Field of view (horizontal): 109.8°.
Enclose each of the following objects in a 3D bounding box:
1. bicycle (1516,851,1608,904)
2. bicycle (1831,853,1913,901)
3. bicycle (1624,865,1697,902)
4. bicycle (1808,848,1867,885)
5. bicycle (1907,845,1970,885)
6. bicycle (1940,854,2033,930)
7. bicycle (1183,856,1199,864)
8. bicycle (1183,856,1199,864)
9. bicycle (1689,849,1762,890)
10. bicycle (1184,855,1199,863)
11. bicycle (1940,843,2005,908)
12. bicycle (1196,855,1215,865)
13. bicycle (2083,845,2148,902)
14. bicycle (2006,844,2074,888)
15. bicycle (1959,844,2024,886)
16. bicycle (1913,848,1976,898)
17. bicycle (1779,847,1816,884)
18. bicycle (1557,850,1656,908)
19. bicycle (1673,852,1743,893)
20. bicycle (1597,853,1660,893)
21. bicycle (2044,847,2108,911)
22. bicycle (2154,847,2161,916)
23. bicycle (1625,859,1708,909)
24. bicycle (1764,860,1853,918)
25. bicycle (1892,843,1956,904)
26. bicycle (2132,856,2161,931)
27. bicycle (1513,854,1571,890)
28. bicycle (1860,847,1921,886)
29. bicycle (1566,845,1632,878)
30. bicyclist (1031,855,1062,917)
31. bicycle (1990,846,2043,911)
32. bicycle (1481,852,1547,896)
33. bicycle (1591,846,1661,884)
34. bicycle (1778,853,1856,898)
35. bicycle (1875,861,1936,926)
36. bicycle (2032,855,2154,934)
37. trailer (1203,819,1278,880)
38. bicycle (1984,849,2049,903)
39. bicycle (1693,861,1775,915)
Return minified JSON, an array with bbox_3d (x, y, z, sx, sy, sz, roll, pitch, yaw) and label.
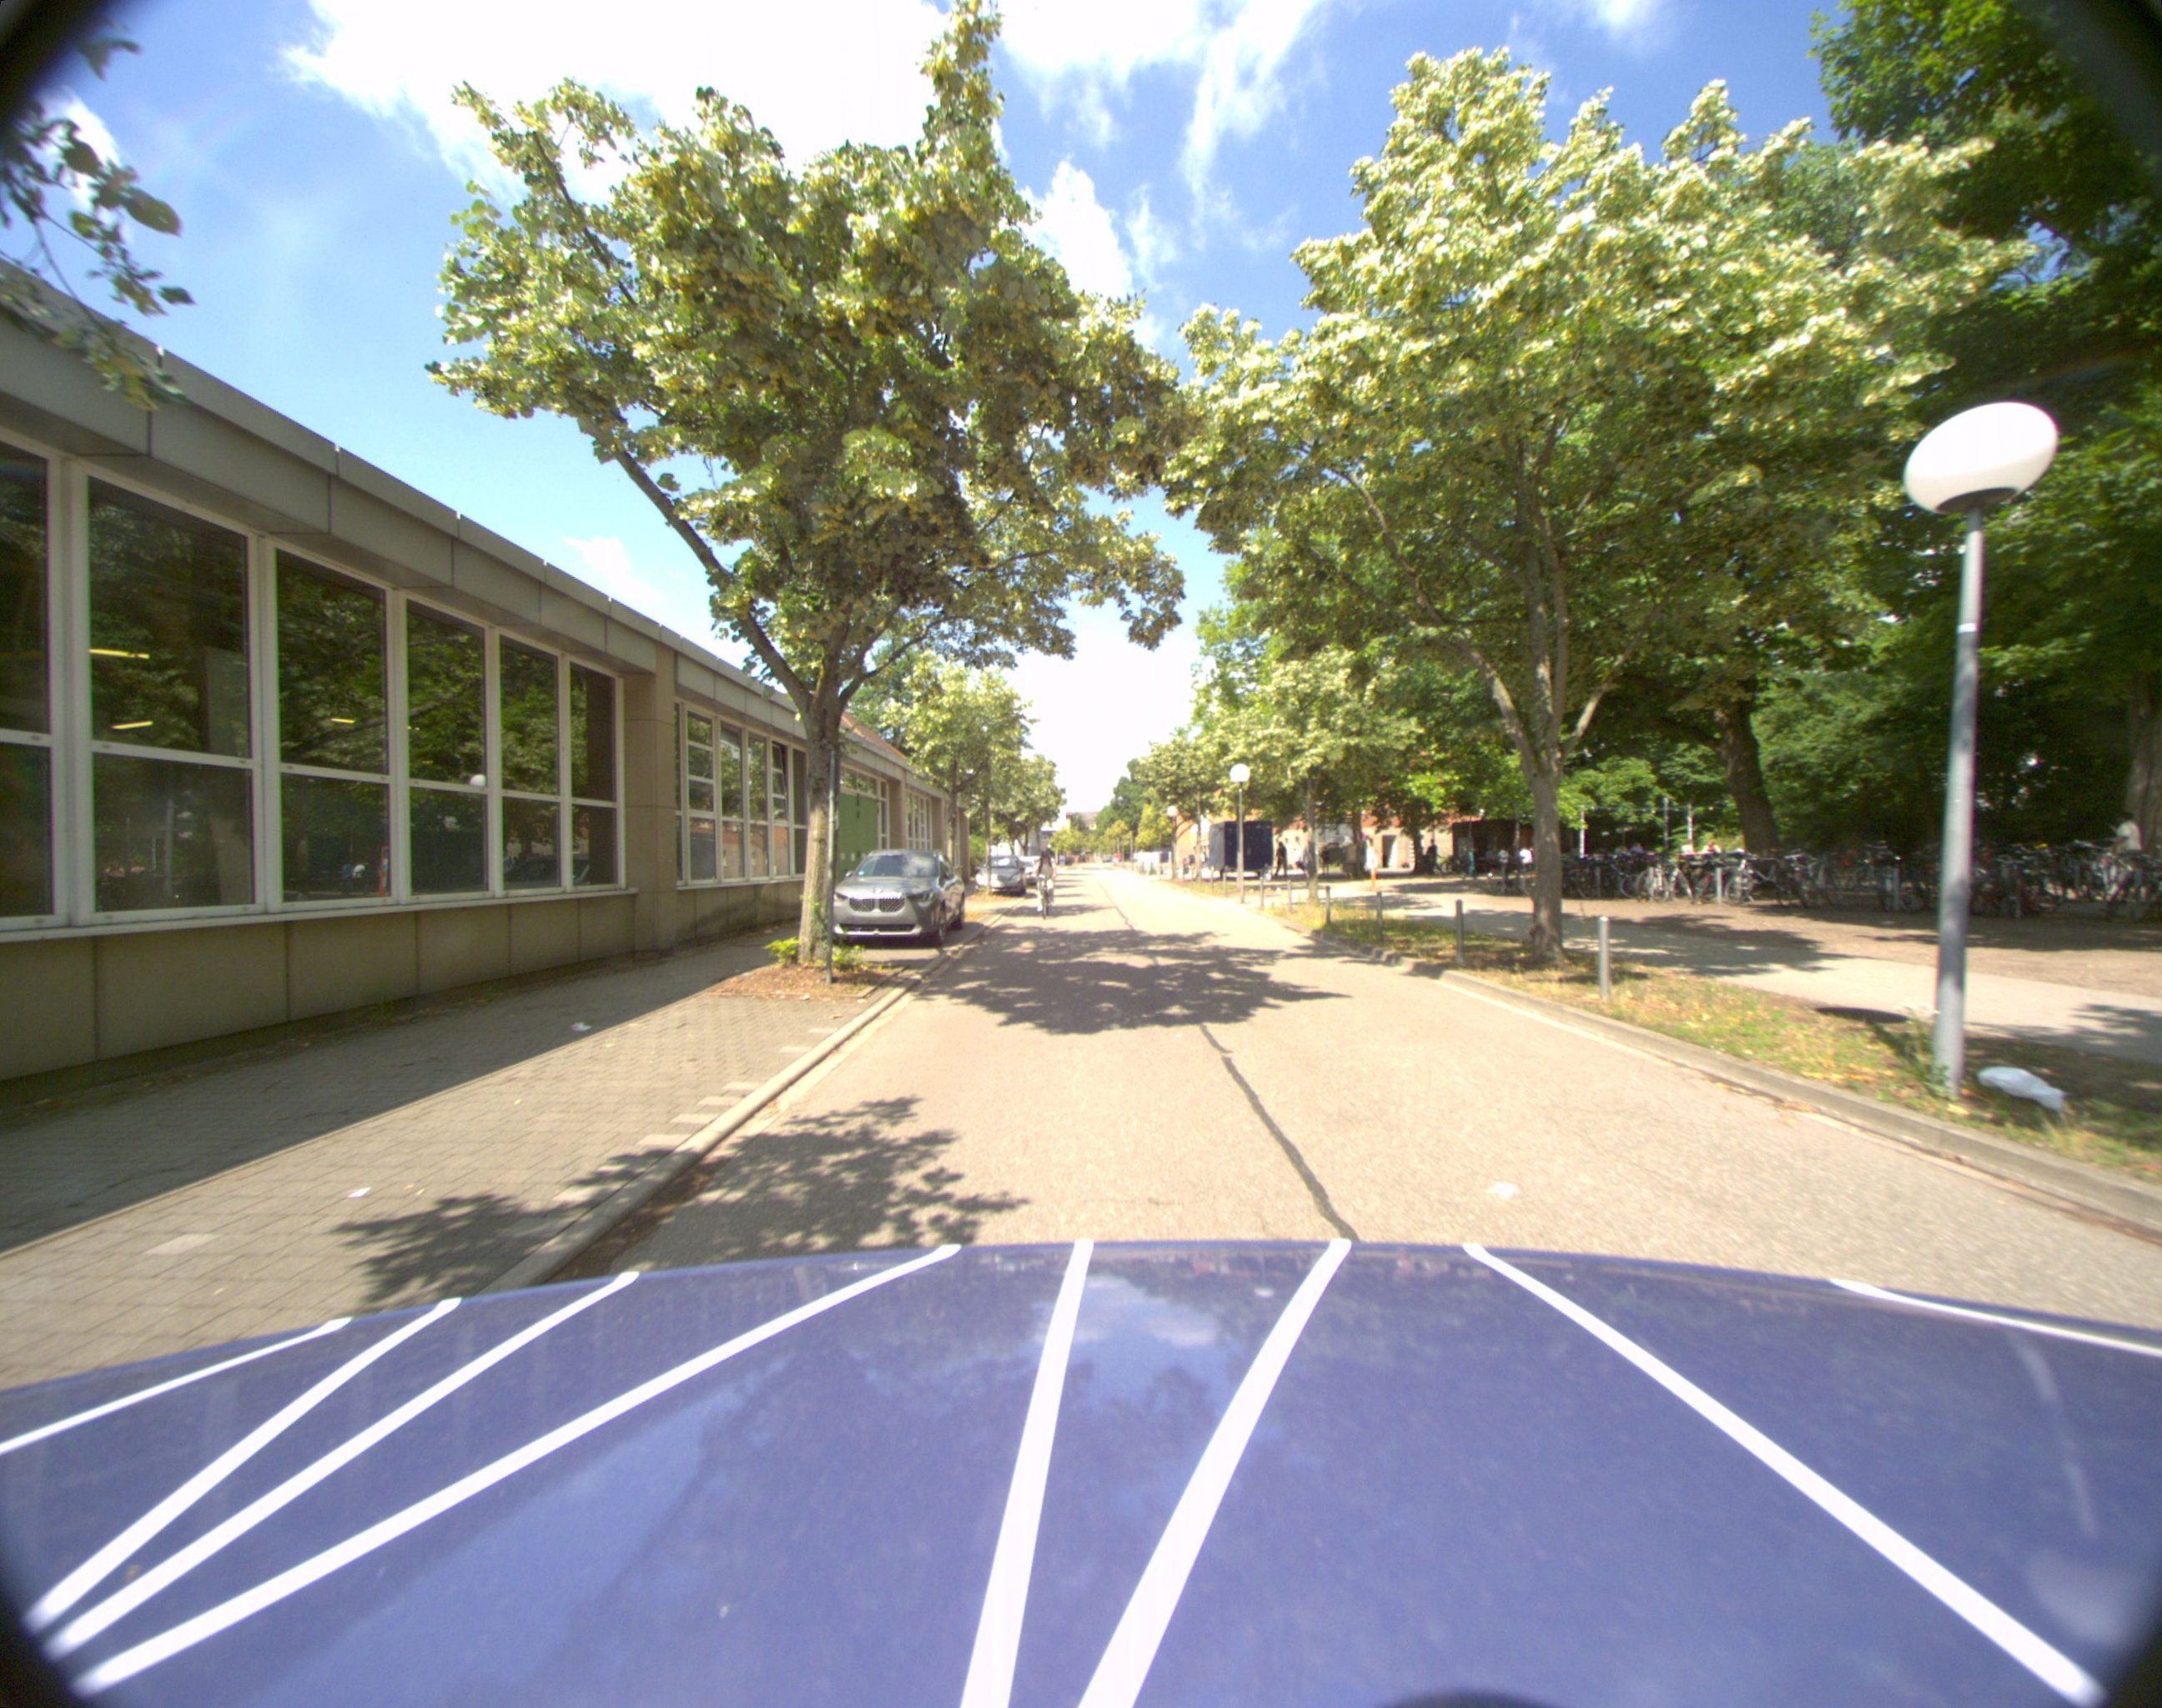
[{"bbox_3d":[12.156,0.580,19.196,2.062,1.227,0.808,-2,1,-17],"label":"bicycle"},{"bbox_3d":[19.497,0.548,18.717,1.969,1.083,0.546,-2,0,-17],"label":"bicycle"},{"bbox_3d":[17.321,0.881,22.701,1.968,1.021,0.537,-2,0,-10],"label":"bicycle"},{"bbox_3d":[23.690,0.371,23.783,1.960,1.085,0.596,-2,2,-22],"label":"bicycle"},{"bbox_3d":[25.117,0.312,22.247,1.960,1.085,0.596,-2,2,-22],"label":"bicycle"},{"bbox_3d":[14.943,0.584,12.606,2.757,1.080,0.880,-2,0,-42],"label":"bicycle"},{"bbox_3d":[14.484,0.801,100.212,1.955,1.024,0.530,-1,0,-1],"label":"bicycle"},{"bbox_3d":[14.350,0.768,98.814,1.955,0.935,0.569,-1,0,-1],"label":"bicycle"},{"bbox_3d":[17.864,0.419,21.065,1.969,1.083,0.546,-2,0,-17],"label":"bicycle"},{"bbox_3d":[14.927,0.684,102.782,1.955,1.024,0.518,-1,0,-1],"label":"bicycle"},{"bbox_3d":[18.478,0.419,15.737,2.064,1.227,0.638,-3,0,-35],"label":"bicycle"},{"bbox_3d":[14.396,0.677,87.769,2.027,1.055,0.663,-1,0,-1],"label":"bicycle"},{"bbox_3d":[21.596,0.390,15.856,1.970,1.083,0.546,-2,0,-29],"label":"bicycle"},{"bbox_3d":[25.524,0.312,20.215,1.960,1.085,0.596,-2,2,-22],"label":"bicycle"},{"bbox_3d":[25.814,0.296,21.535,1.960,1.085,0.596,-2,2,-22],"label":"bicycle"},{"bbox_3d":[20.195,0.430,17.762,1.970,1.083,0.546,-2,0,-29],"label":"bicycle"},{"bbox_3d":[22.919,0.361,24.297,1.961,1.085,0.595,-2,2,-38],"label":"bicycle"},{"bbox_3d":[12.534,0.579,18.116,2.062,1.227,0.808,-3,1,-17],"label":"bicycle"},{"bbox_3d":[17.862,0.505,21.648,1.969,1.083,0.537,-2,0,-17],"label":"bicycle"},{"bbox_3d":[15.957,0.548,22.127,1.863,1.083,0.546,-2,0,-21],"label":"bicycle"},{"bbox_3d":[19.276,0.462,14.708,2.064,1.126,0.638,-2,0,-35],"label":"bicycle"},{"bbox_3d":[19.578,0.468,13.449,2.064,1.151,0.638,-2,0,-35],"label":"bicycle"},{"bbox_3d":[13.171,0.644,17.068,2.157,1.002,0.676,-2,0,-29],"label":"bicycle"},{"bbox_3d":[14.262,0.658,14.875,2.157,1.002,0.676,-2,0,-30],"label":"bicycle"},{"bbox_3d":[18.104,0.396,16.308,2.064,1.227,0.638,-2,0,-35],"label":"bicycle"},{"bbox_3d":[16.351,0.568,11.084,2.789,1.009,0.880,-2,0,-42],"label":"bicycle"},{"bbox_3d":[14.756,0.558,24.329,1.863,1.083,0.546,-2,0,-21],"label":"bicycle"},{"bbox_3d":[24.431,0.352,22.937,1.960,1.085,0.596,-2,2,-22],"label":"bicycle"},{"bbox_3d":[16.906,0.234,24.806,1.968,0.997,0.537,-2,0,-10],"label":"bicycle"},{"bbox_3d":[-0.846,0.777,18.873,0.675,1.470,1.062,-1,2,2],"label":"bicyclist"},{"bbox_3d":[18.597,0.464,15.094,2.063,1.126,0.478,-4,1,-35],"label":"bicycle"},{"bbox_3d":[11.815,0.535,20.746,1.780,1.125,0.458,-2,1,-17],"label":"bicycle"},{"bbox_3d":[17.099,0.339,23.834,1.968,1.119,0.537,-2,1,-10],"label":"bicycle"},{"bbox_3d":[19.119,0.540,19.746,1.969,1.083,0.546,-2,0,-17],"label":"bicycle"},{"bbox_3d":[14.785,0.664,13.617,2.656,1.002,0.676,-2,0,-42],"label":"bicycle"},{"bbox_3d":[15.651,0.567,11.827,2.839,1.044,0.880,-2,0,-42],"label":"bicycle"},{"bbox_3d":[8.587,-0.242,41.586,2.703,3.009,6.266,-2,0,0],"label":"trailer"},{"bbox_3d":[20.402,0.466,16.561,1.970,1.083,0.546,-2,0,-29],"label":"bicycle"},{"bbox_3d":[13.555,0.679,15.765,1.895,1.002,0.676,-2,0,-29],"label":"bicycle"}]
